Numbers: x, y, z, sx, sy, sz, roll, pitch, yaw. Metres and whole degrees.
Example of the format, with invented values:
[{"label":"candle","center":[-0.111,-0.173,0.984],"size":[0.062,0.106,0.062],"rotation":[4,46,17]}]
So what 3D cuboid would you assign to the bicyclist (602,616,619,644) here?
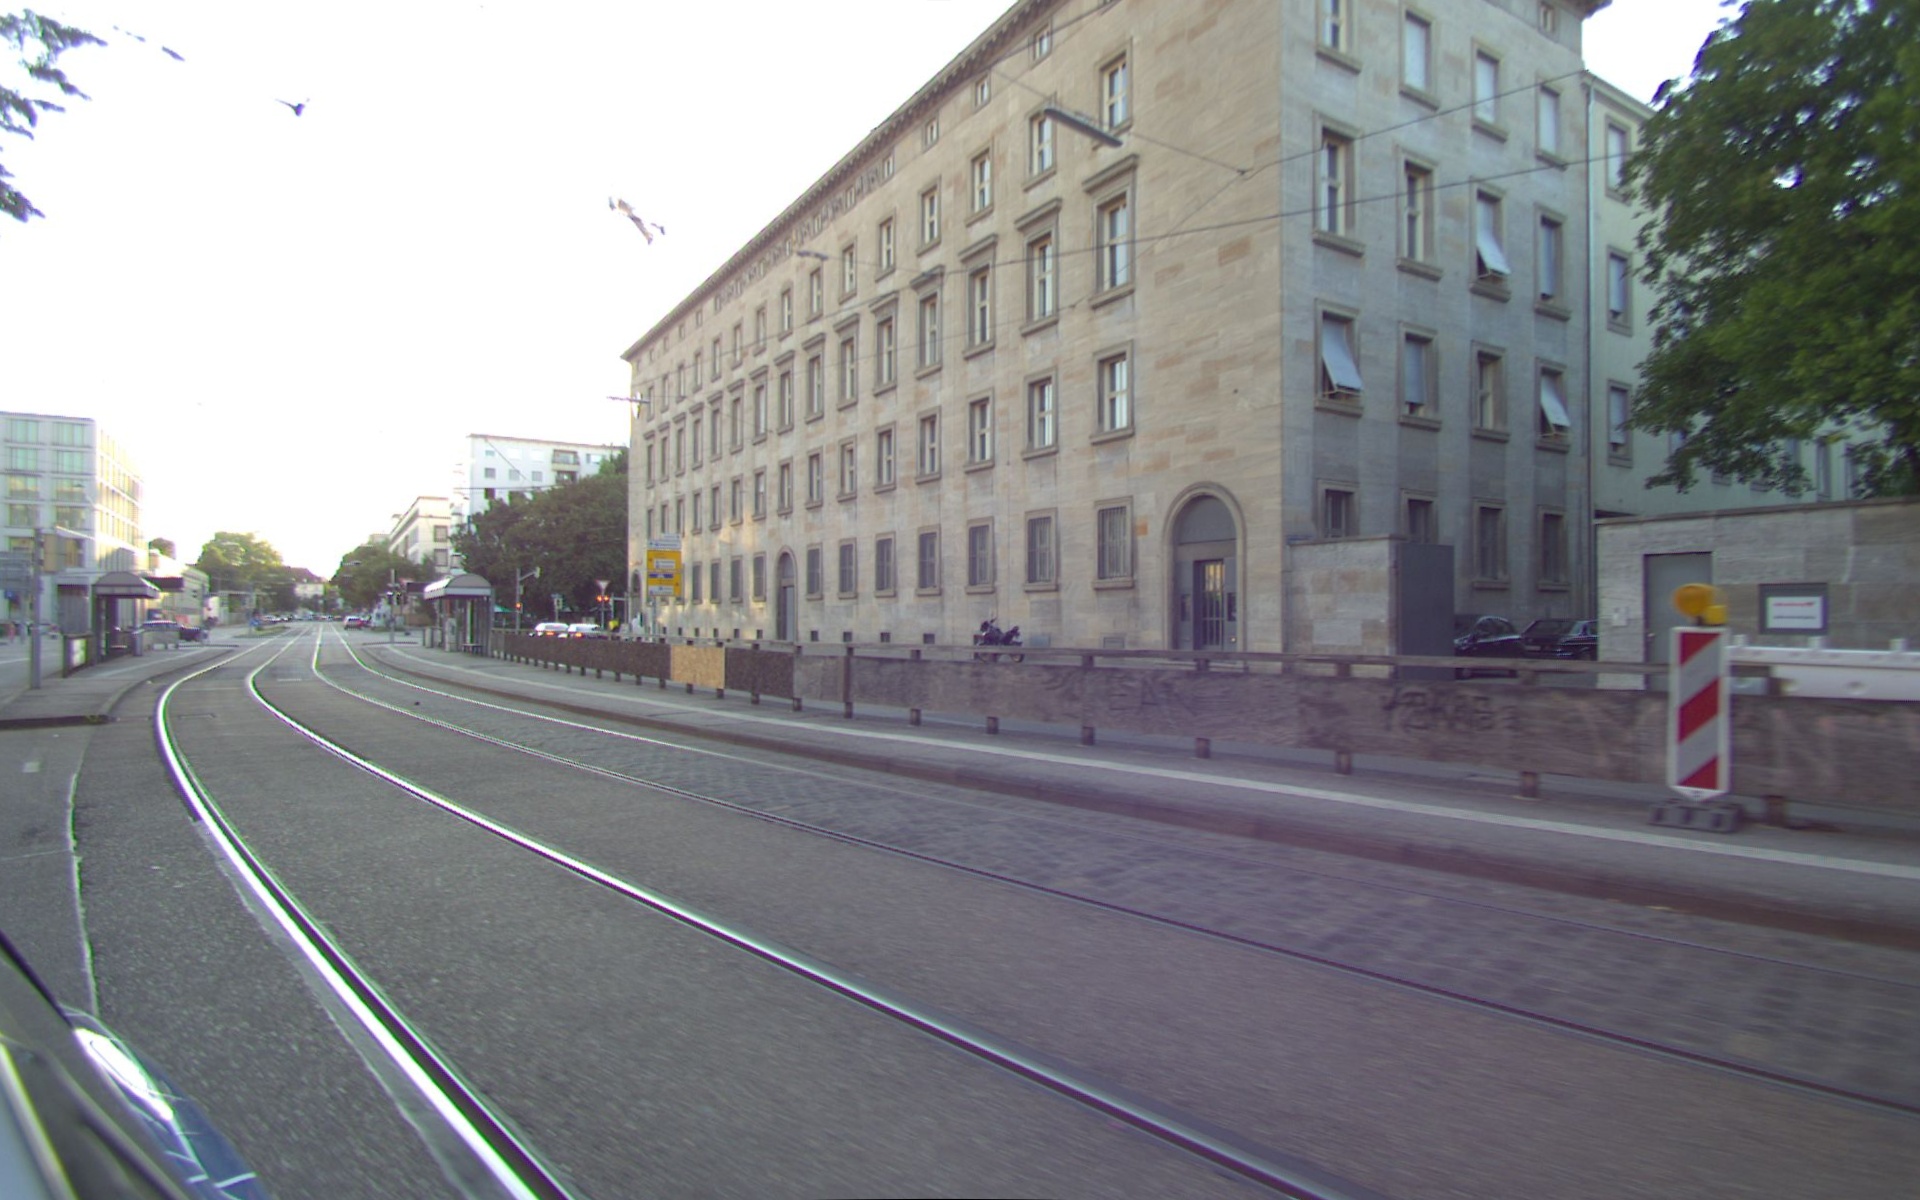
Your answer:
[{"label":"bicyclist","center":[-18.548,1.605,53.737],"size":[0.745,1.452,0.599],"rotation":[1,-2,-32]}]

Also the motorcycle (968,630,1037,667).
[{"label":"motorcycle","center":[1.273,1.460,31.024],"size":[0.689,1.083,2.661],"rotation":[1,-2,-32]}]

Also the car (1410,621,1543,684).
[{"label":"car","center":[12.545,1.220,24.539],"size":[3.133,1.430,1.482],"rotation":[1,-2,-33]}]

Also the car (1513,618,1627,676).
[{"label":"car","center":[15.996,1.202,26.527],"size":[2.963,1.430,1.397],"rotation":[1,-2,-33]}]

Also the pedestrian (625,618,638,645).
[{"label":"pedestrian","center":[-21.616,2.068,66.585],"size":[0.686,1.723,0.648],"rotation":[1,-2,-30]}]

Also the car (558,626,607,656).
[{"label":"car","center":[-19.304,2.071,51.640],"size":[1.620,1.438,3.715],"rotation":[1,-2,-33]}]

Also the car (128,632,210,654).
[{"label":"car","center":[-54.078,2.935,69.244],"size":[1.694,1.431,4.125],"rotation":[-1,-2,34]}]

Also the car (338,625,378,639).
[{"label":"car","center":[-74.268,3.950,124.892],"size":[4.310,1.676,1.876],"rotation":[0,-1,18]}]

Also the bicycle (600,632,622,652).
[{"label":"bicycle","center":[-18.471,2.220,53.581],"size":[0.731,1.025,1.766],"rotation":[1,-2,-32]}]

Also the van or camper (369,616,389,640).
[{"label":"van or camper","center":[-71.287,3.470,124.167],"size":[2.076,2.702,4.724],"rotation":[0,-3,-31]}]

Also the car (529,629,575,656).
[{"label":"car","center":[-22.997,2.362,56.978],"size":[1.620,1.438,4.244],"rotation":[1,-2,-33]}]

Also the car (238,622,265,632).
[{"label":"car","center":[-123.243,4.661,176.061],"size":[3.745,1.661,1.868],"rotation":[1,-2,-33]}]

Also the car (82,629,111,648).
[{"label":"car","center":[-72.332,3.203,84.752],"size":[1.789,1.534,4.816],"rotation":[-1,-1,-41]}]
